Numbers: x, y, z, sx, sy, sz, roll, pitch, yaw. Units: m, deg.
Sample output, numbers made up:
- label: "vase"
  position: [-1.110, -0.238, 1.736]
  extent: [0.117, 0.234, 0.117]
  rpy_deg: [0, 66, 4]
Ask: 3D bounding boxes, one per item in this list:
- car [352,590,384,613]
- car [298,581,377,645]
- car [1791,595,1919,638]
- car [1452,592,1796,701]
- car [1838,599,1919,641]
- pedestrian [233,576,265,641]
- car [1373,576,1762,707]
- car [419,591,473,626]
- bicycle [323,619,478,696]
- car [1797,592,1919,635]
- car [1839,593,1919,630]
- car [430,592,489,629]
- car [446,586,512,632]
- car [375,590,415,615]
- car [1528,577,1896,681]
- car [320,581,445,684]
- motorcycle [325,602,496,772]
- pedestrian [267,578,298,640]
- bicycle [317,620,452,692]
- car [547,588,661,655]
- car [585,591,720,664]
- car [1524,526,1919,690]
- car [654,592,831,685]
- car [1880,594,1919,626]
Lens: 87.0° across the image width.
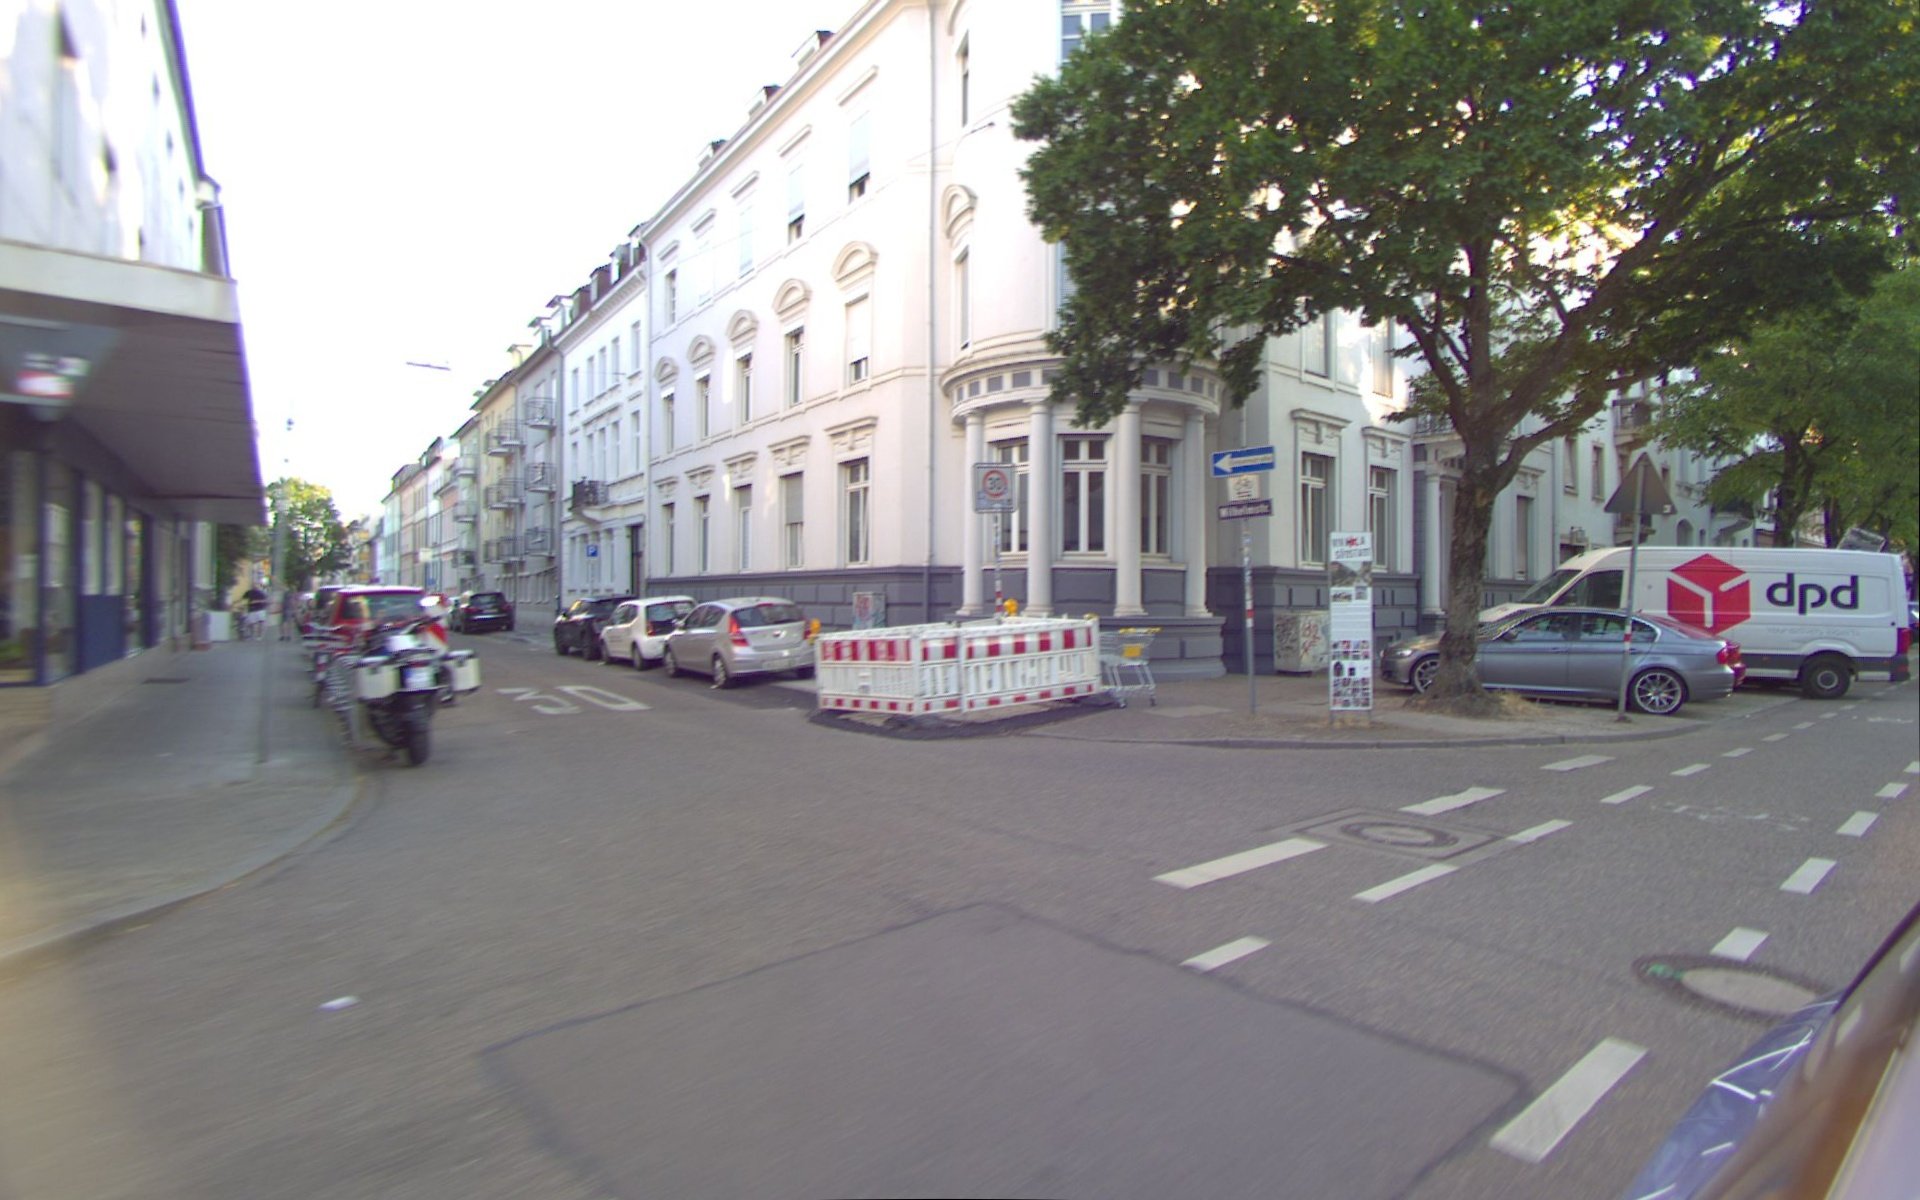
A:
- label: "car"
  position: [-45.545, 0.099, 77.777]
  extent: [1.819, 1.682, 3.752]
  rpy_deg: [1, 0, -35]
- label: "car"
  position: [-19.156, 0.357, 31.081]
  extent: [1.819, 1.828, 3.898]
  rpy_deg: [1, 0, -35]
- label: "car"
  position: [33.358, 0.578, 37.147]
  extent: [4.180, 1.522, 1.723]
  rpy_deg: [0, 0, 33]
- label: "car"
  position: [10.678, 0.674, 16.719]
  extent: [4.354, 1.463, 1.974]
  rpy_deg: [2, 1, 21]
- label: "car"
  position: [38.871, 0.823, 41.350]
  extent: [4.159, 1.630, 1.691]
  rpy_deg: [2, 1, 20]
- label: "pedestrian"
  position: [-21.675, 0.246, 30.845]
  extent: [0.785, 1.924, 0.992]
  rpy_deg: [0, 0, -36]
- label: "car"
  position: [8.529, 0.520, 14.762]
  extent: [4.555, 1.532, 1.848]
  rpy_deg: [3, 0, 22]
- label: "car"
  position: [-25.325, 0.407, 49.815]
  extent: [1.819, 1.639, 3.898]
  rpy_deg: [1, 0, -35]
- label: "bicycle"
  position: [-8.619, 0.854, 15.627]
  extent: [2.057, 1.070, 0.592]
  rpy_deg: [-1, 0, -33]
- label: "car"
  position: [35.027, 0.495, 38.904]
  extent: [4.181, 1.521, 1.723]
  rpy_deg: [2, 1, 33]
- label: "car"
  position: [42.735, 0.504, 45.718]
  extent: [4.159, 1.630, 1.732]
  rpy_deg: [0, 0, 20]
- label: "car"
  position: [-22.938, 0.464, 46.318]
  extent: [1.819, 1.639, 3.898]
  rpy_deg: [1, 0, -35]
- label: "car"
  position: [-19.627, 0.338, 41.227]
  extent: [1.819, 1.786, 3.898]
  rpy_deg: [1, 0, -35]
- label: "car"
  position: [-38.611, 0.168, 69.103]
  extent: [1.820, 1.639, 3.896]
  rpy_deg: [1, 0, -37]
- label: "car"
  position: [14.953, 0.519, 20.561]
  extent: [5.558, 1.919, 2.162]
  rpy_deg: [0, 0, 15]
- label: "car"
  position: [-10.844, 0.526, 18.886]
  extent: [1.817, 1.690, 4.364]
  rpy_deg: [0, 0, -32]
- label: "motorcycle"
  position: [-5.357, 0.737, 9.787]
  extent: [1.265, 1.422, 2.098]
  rpy_deg: [-1, 0, -34]
- label: "pedestrian"
  position: [-21.184, 0.270, 31.643]
  extent: [0.785, 1.924, 0.734]
  rpy_deg: [0, 0, -36]
- label: "bicycle"
  position: [-9.322, 0.880, 16.453]
  extent: [0.525, 1.070, 1.842]
  rpy_deg: [-1, 0, 45]
- label: "car"
  position: [-9.342, 0.509, 26.374]
  extent: [1.819, 1.597, 3.898]
  rpy_deg: [1, 0, -35]
- label: "car"
  position: [-7.049, 0.565, 22.968]
  extent: [1.819, 1.511, 3.898]
  rpy_deg: [0, 0, -35]
- label: "car"
  position: [13.714, 0.120, 18.481]
  extent: [5.558, 2.728, 2.162]
  rpy_deg: [0, 0, 15]
- label: "car"
  position: [-4.098, 0.618, 18.619]
  extent: [1.819, 1.510, 3.898]
  rpy_deg: [0, 0, -35]
- label: "car"
  position: [49.091, 0.502, 50.636]
  extent: [4.159, 1.630, 1.732]
  rpy_deg: [0, 0, 20]
